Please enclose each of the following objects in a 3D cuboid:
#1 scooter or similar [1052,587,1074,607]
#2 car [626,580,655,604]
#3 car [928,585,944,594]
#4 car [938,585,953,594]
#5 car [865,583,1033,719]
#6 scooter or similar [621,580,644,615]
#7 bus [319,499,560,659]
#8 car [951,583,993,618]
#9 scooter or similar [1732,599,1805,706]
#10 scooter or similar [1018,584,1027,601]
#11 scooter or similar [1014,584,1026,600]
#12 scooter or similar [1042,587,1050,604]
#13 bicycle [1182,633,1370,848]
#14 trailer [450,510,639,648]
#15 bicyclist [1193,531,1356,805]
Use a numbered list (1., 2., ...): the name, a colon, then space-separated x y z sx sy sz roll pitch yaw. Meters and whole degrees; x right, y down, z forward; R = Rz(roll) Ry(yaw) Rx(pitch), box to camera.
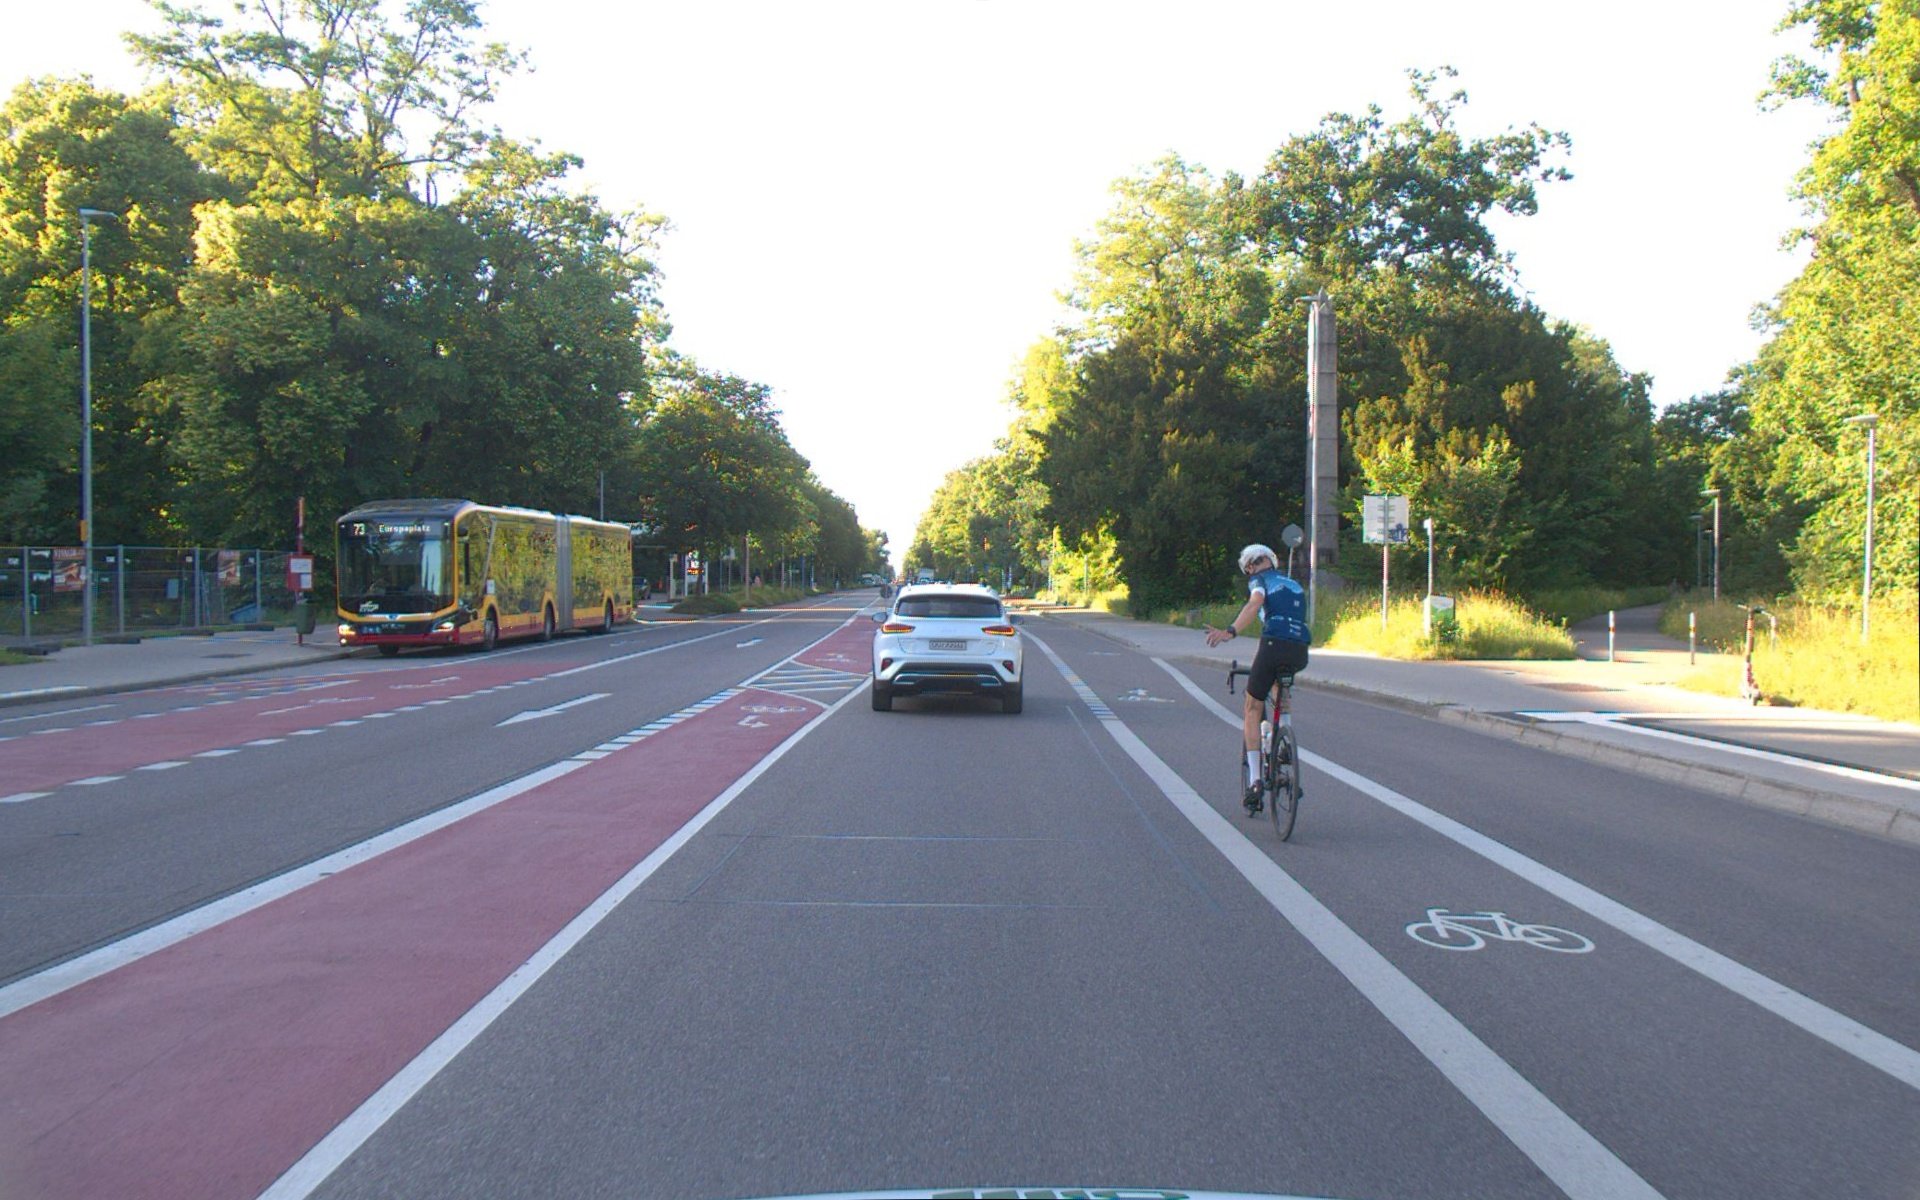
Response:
1. scooter or similar: 6.504 -0.196 104.576 0.526 1.272 1.530 0 1 45
2. car: -23.206 -0.602 120.161 1.677 1.721 4.448 0 1 -6
3. car: -3.583 -1.628 246.029 1.955 1.350 3.996 0 1 -5
4. car: -2.069 -1.466 230.376 1.953 1.350 3.998 0 1 -2
5. car: -0.226 0.559 20.585 1.727 1.485 3.814 2 0 -5
6. scooter or similar: -16.291 -0.126 82.204 0.811 1.747 1.741 0 0 -1
7. bus: -11.644 -0.471 38.017 2.782 3.252 8.600 0 1 0
8. car: 0.520 0.002 68.367 1.641 1.442 3.575 0 1 2
9. scooter or similar: 10.151 0.636 20.797 0.707 1.269 1.328 0 1 22
10. scooter or similar: 5.586 -0.676 148.177 0.668 1.448 1.681 0 0 -2
11. scooter or similar: 5.538 -0.721 152.127 0.671 1.448 1.675 0 0 -15
12. scooter or similar: 6.356 -0.353 122.428 0.522 1.272 1.541 0 0 -2
13. bicycle: 1.926 0.811 10.403 0.872 1.114 2.137 2 1 4
14. trailer: -11.533 -0.567 46.984 2.796 3.414 9.363 2 0 1
15. bicyclist: 1.919 0.397 10.215 0.842 1.594 0.881 2 0 4
